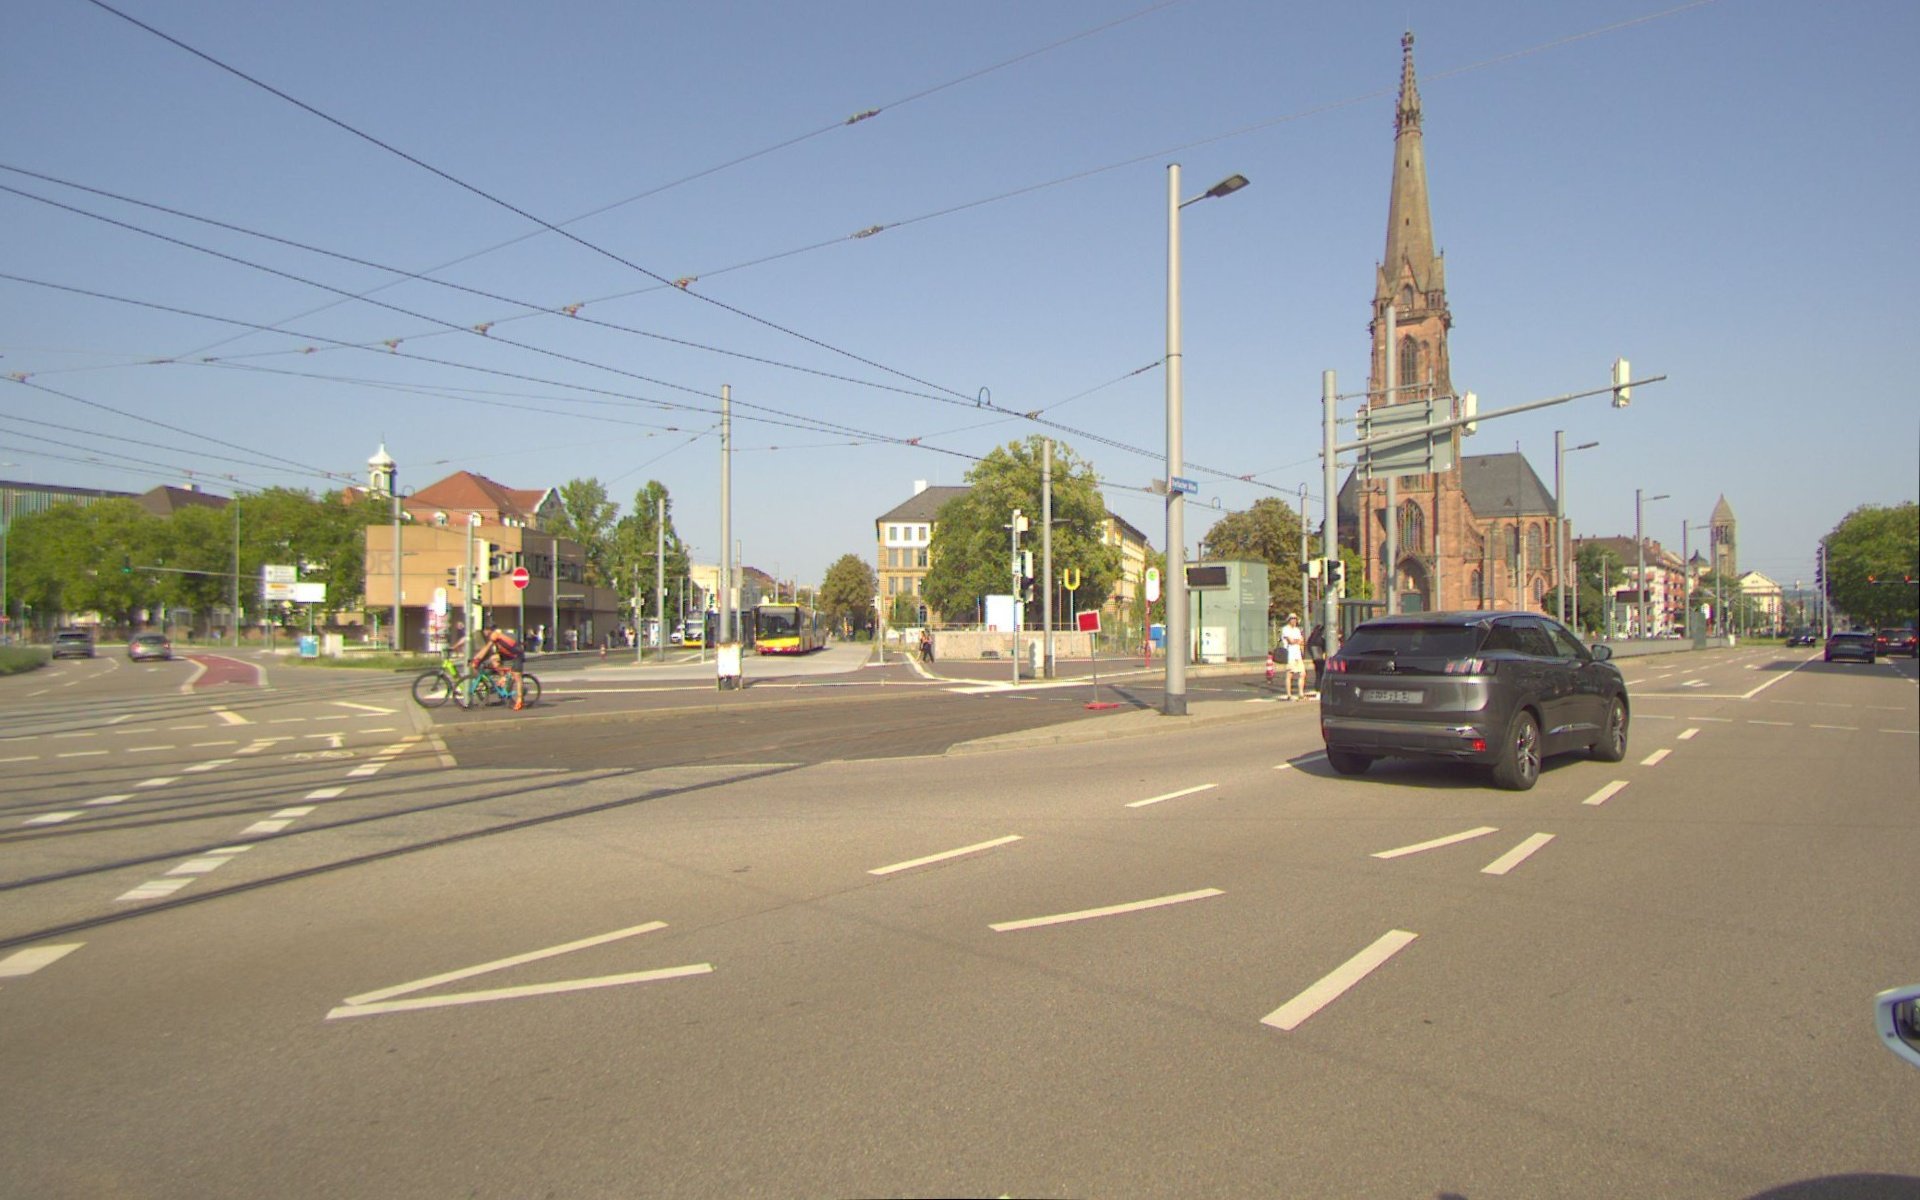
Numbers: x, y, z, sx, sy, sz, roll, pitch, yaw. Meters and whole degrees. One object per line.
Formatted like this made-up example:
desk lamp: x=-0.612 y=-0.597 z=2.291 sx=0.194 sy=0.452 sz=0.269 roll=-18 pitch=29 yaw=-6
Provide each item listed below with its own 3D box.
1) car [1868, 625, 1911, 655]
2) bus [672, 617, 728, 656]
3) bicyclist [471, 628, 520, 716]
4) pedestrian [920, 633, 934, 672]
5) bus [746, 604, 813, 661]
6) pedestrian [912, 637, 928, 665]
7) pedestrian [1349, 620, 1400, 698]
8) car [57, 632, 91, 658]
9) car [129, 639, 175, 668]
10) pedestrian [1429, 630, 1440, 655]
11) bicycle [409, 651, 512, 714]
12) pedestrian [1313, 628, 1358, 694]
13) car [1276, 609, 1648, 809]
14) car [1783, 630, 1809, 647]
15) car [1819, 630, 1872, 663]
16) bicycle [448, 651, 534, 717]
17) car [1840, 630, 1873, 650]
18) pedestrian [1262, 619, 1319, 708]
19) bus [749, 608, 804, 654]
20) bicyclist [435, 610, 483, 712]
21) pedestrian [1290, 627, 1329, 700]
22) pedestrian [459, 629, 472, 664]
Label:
car: x=55.538 y=2.365 z=60.066 sx=1.811 sy=1.642 sz=4.333 roll=1 pitch=-1 yaw=42
bus: x=-24.438 y=3.401 z=95.220 sx=3.164 sy=3.464 sz=13.306 roll=0 pitch=-2 yaw=-6
bicyclist: x=-8.963 y=1.368 z=19.398 sx=0.799 sy=1.652 sz=0.507 roll=0 pitch=-1 yaw=-34
pedestrian: x=-1.543 y=2.404 z=46.324 sx=0.629 sy=1.783 sz=0.443 roll=0 pitch=-1 yaw=-5
bus: x=-11.140 y=2.037 z=63.262 sx=3.164 sy=3.220 sz=13.306 roll=0 pitch=-2 yaw=-6
pedestrian: x=-1.863 y=2.370 z=46.854 sx=0.753 sy=1.309 sz=0.558 roll=0 pitch=-1 yaw=-5
pedestrian: x=9.310 y=1.328 z=22.567 sx=0.805 sy=1.714 sz=0.648 roll=-5 pitch=-4 yaw=42
car: x=-53.468 y=2.701 z=60.594 sx=1.482 sy=1.470 sz=3.481 roll=1 pitch=-2 yaw=-42
car: x=-44.502 y=2.911 z=55.282 sx=1.769 sy=1.528 sz=3.951 roll=1 pitch=-2 yaw=-42
pedestrian: x=32.735 y=2.914 z=69.348 sx=0.511 sy=1.723 sz=0.661 roll=-1 pitch=-2 yaw=41
bicycle: x=-10.007 y=1.632 z=20.161 sx=1.839 sy=1.181 sz=0.374 roll=0 pitch=-1 yaw=-33
pedestrian: x=9.092 y=1.482 z=24.321 sx=0.799 sy=1.568 sz=0.544 roll=-5 pitch=-4 yaw=44
car: x=5.338 y=0.953 z=10.432 sx=4.323 sy=1.642 sz=1.976 roll=1 pitch=-2 yaw=-41
car: x=77.682 y=3.554 z=93.319 sx=1.721 sy=1.547 sz=3.854 roll=-2 pitch=-2 yaw=41
car: x=42.281 y=2.179 z=47.948 sx=1.843 sy=1.443 sz=4.333 roll=1 pitch=-1 yaw=42
bicycle: x=-9.031 y=1.601 z=19.370 sx=1.483 sy=1.181 sz=0.309 roll=0 pitch=-1 yaw=-33
car: x=69.326 y=3.064 z=77.697 sx=1.843 sy=1.443 sz=4.333 roll=1 pitch=-1 yaw=42
pedestrian: x=6.937 y=1.331 z=21.101 sx=0.723 sy=1.811 sz=0.826 roll=1 pitch=-4 yaw=-40
bus: x=-13.999 y=2.400 z=77.501 sx=3.164 sy=3.220 sz=13.306 roll=0 pitch=-2 yaw=-6
bicyclist: x=-10.048 y=1.210 z=20.145 sx=0.799 sy=2.000 sz=0.576 roll=0 pitch=-1 yaw=-34
pedestrian: x=7.803 y=1.418 z=22.407 sx=0.625 sy=1.618 sz=0.465 roll=-4 pitch=-4 yaw=41
pedestrian: x=-25.640 y=2.385 z=52.040 sx=0.395 sy=1.792 sz=0.559 roll=0 pitch=-1 yaw=-2
